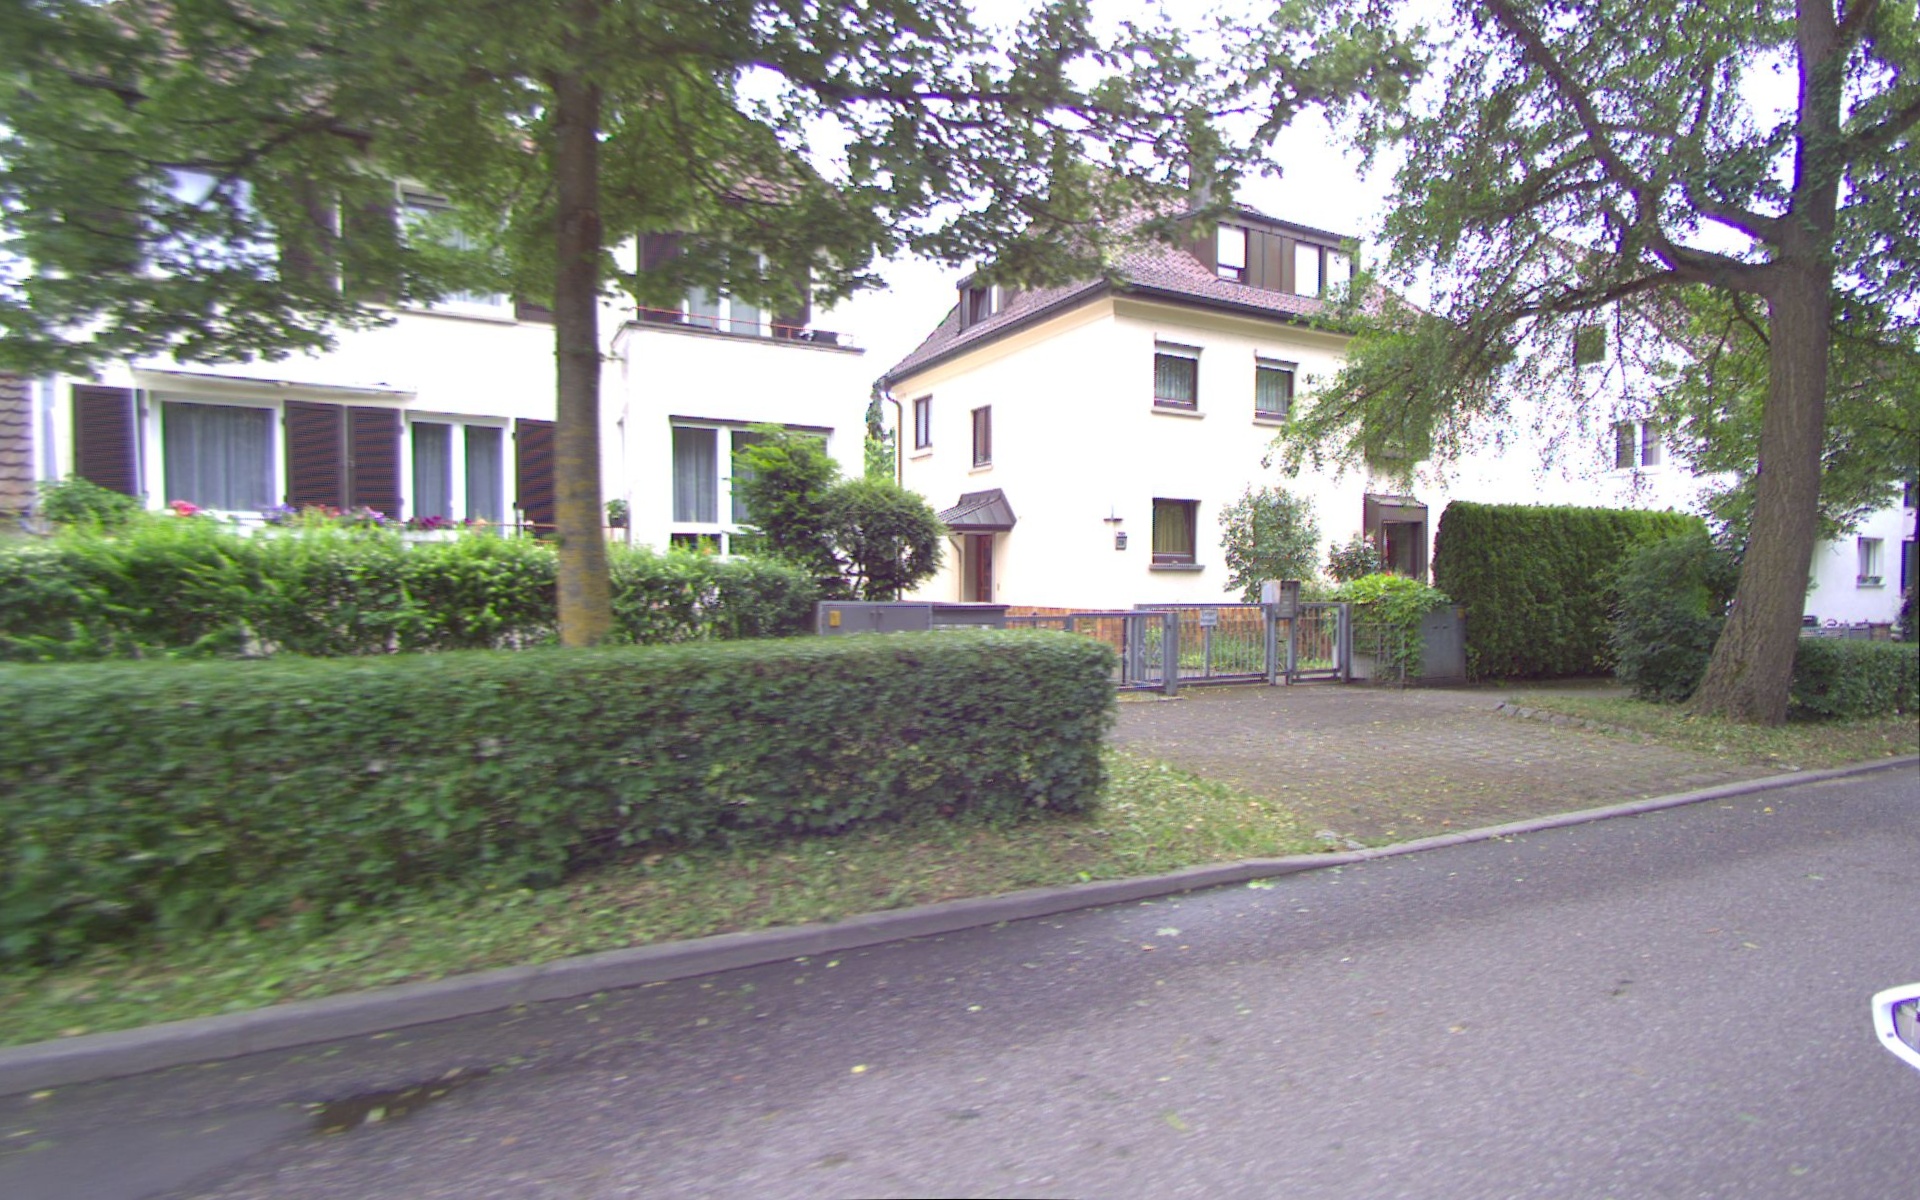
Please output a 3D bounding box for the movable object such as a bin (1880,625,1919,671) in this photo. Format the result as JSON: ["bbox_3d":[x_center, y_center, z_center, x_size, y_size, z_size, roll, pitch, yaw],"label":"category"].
[{"bbox_3d":[21.879,1.118,23.390,0.596,1.039,0.556,1,0,-35],"label":"movable object such as a bin"}]

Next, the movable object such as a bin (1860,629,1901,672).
[{"bbox_3d":[20.783,1.130,22.673,0.634,0.953,0.556,1,0,-35],"label":"movable object such as a bin"}]

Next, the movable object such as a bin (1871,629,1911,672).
[{"bbox_3d":[21.338,1.143,23.022,0.634,0.953,0.556,1,0,-35],"label":"movable object such as a bin"}]
